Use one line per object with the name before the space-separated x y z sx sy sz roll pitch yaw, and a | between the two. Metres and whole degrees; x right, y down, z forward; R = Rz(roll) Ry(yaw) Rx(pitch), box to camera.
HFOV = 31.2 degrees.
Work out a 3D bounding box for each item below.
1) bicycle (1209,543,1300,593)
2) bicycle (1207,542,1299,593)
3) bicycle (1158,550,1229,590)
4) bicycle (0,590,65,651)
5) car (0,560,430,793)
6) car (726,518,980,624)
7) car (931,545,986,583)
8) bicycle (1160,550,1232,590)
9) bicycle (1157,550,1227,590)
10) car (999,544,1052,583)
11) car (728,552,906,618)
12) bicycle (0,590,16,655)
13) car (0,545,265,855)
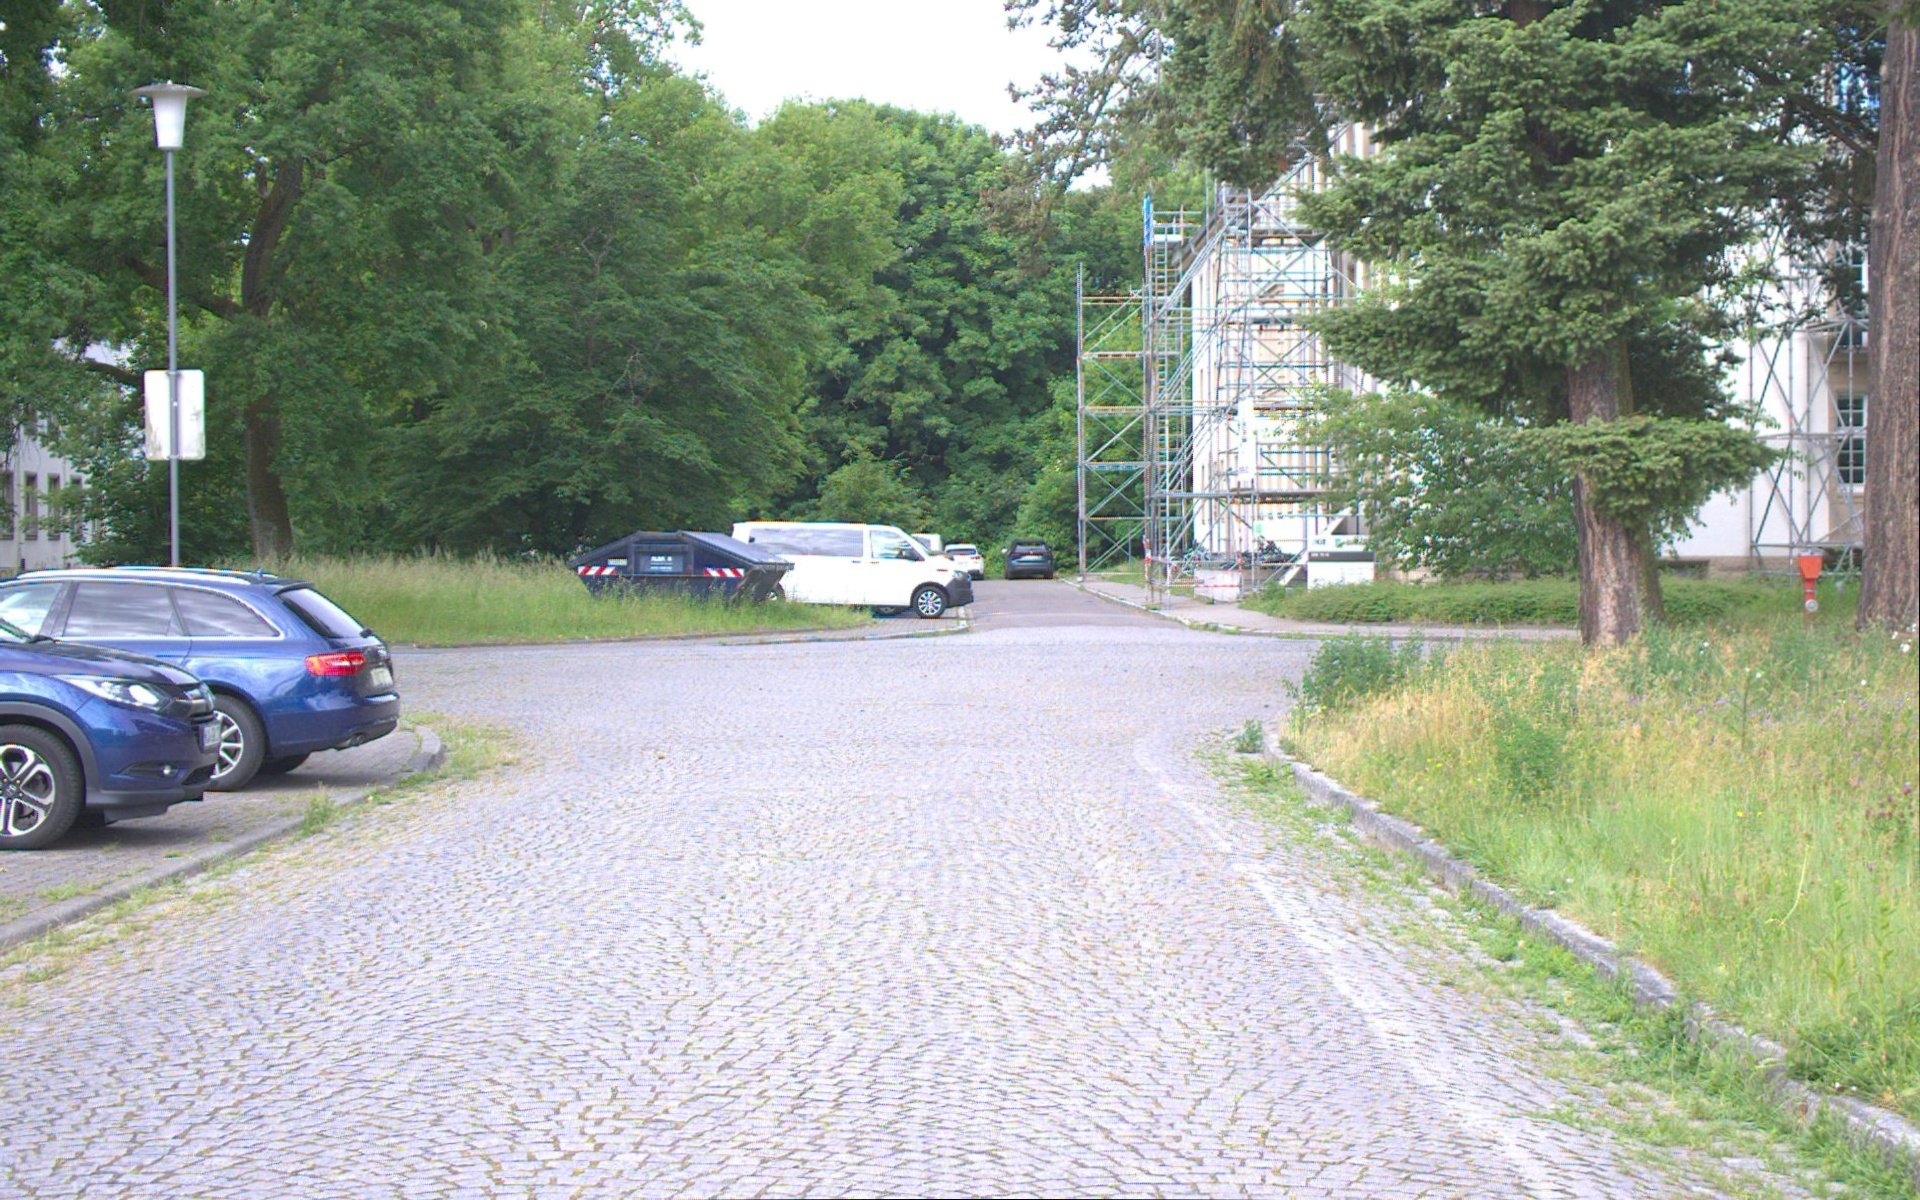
bicycle | 7.443 -0.812 86.947 2.240 1.250 0.777 0 1 2
bicycle | 7.237 -0.797 85.036 2.240 1.250 0.777 0 1 2
bicycle | 7.473 -0.962 110.002 2.240 1.250 0.698 0 1 2
bicycle | -15.791 0.336 56.666 1.957 0.986 0.627 -1 1 -10
car | -5.920 0.477 23.330 4.303 1.456 1.975 1 1 1
car | -2.243 -0.624 72.126 5.234 2.160 2.000 0 1 -2
car | -0.065 -1.442 138.110 2.118 1.516 4.000 0 1 -1
bicycle | 7.453 -0.951 108.575 2.240 1.250 0.627 0 1 2
bicycle | 7.477 -0.968 110.847 2.240 1.250 0.634 0 1 2
car | 2.612 -1.480 138.392 1.951 1.516 4.000 0 1 -1
car | -3.109 -0.345 74.727 3.788 1.390 2.000 0 1 -2
bicycle | -15.497 0.359 52.600 1.957 0.986 0.627 -1 1 -22
car | -6.060 0.487 18.600 4.228 1.571 1.887 1 1 -1
